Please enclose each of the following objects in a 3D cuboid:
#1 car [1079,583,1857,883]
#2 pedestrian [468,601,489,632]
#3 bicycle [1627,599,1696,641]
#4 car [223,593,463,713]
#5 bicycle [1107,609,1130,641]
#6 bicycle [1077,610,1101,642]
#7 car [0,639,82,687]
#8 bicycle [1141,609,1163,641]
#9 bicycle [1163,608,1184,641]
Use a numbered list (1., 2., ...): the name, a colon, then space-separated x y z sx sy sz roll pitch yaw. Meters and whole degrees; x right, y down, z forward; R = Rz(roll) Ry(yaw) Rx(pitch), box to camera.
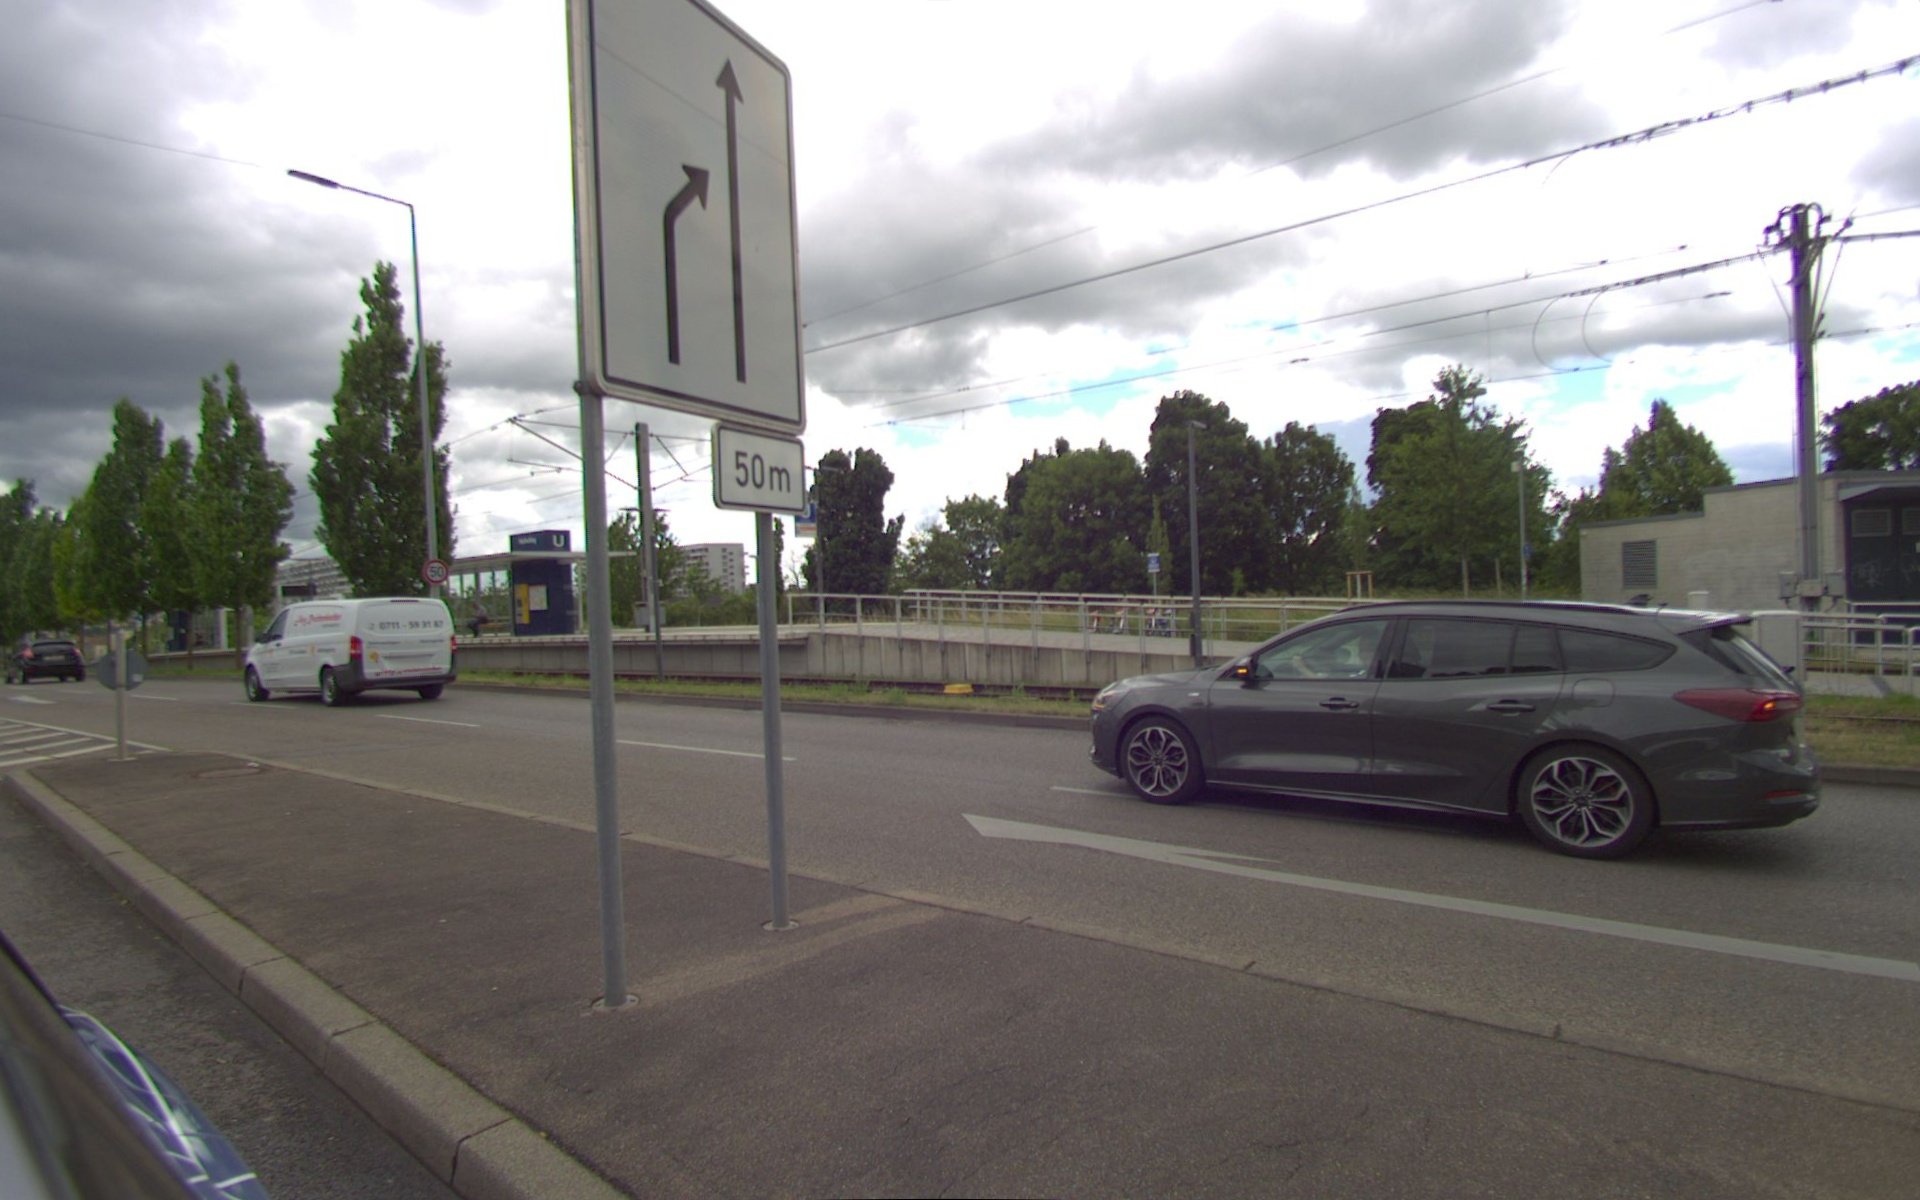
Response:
1. car: 3.186 0.645 6.993 4.430 1.435 1.851 -1 0 40
2. pedestrian: -18.115 0.622 38.078 0.447 1.163 0.593 -1 0 41
3. bicycle: 18.058 0.502 26.107 0.529 1.039 1.813 -1 0 1
4. car: -11.730 0.894 19.083 5.361 1.979 1.899 -1 0 35
5. bicycle: 5.393 0.853 34.443 0.531 1.039 1.804 -1 0 16
6. bicycle: 4.453 0.885 34.841 0.531 1.039 1.804 -1 0 16
7. car: -31.079 2.075 34.166 3.658 1.460 1.678 -2 -1 41
8. bicycle: 6.449 0.819 33.990 0.531 1.039 1.804 -1 0 16
9. bicycle: 7.121 0.802 33.658 0.531 1.039 1.804 -1 0 16
